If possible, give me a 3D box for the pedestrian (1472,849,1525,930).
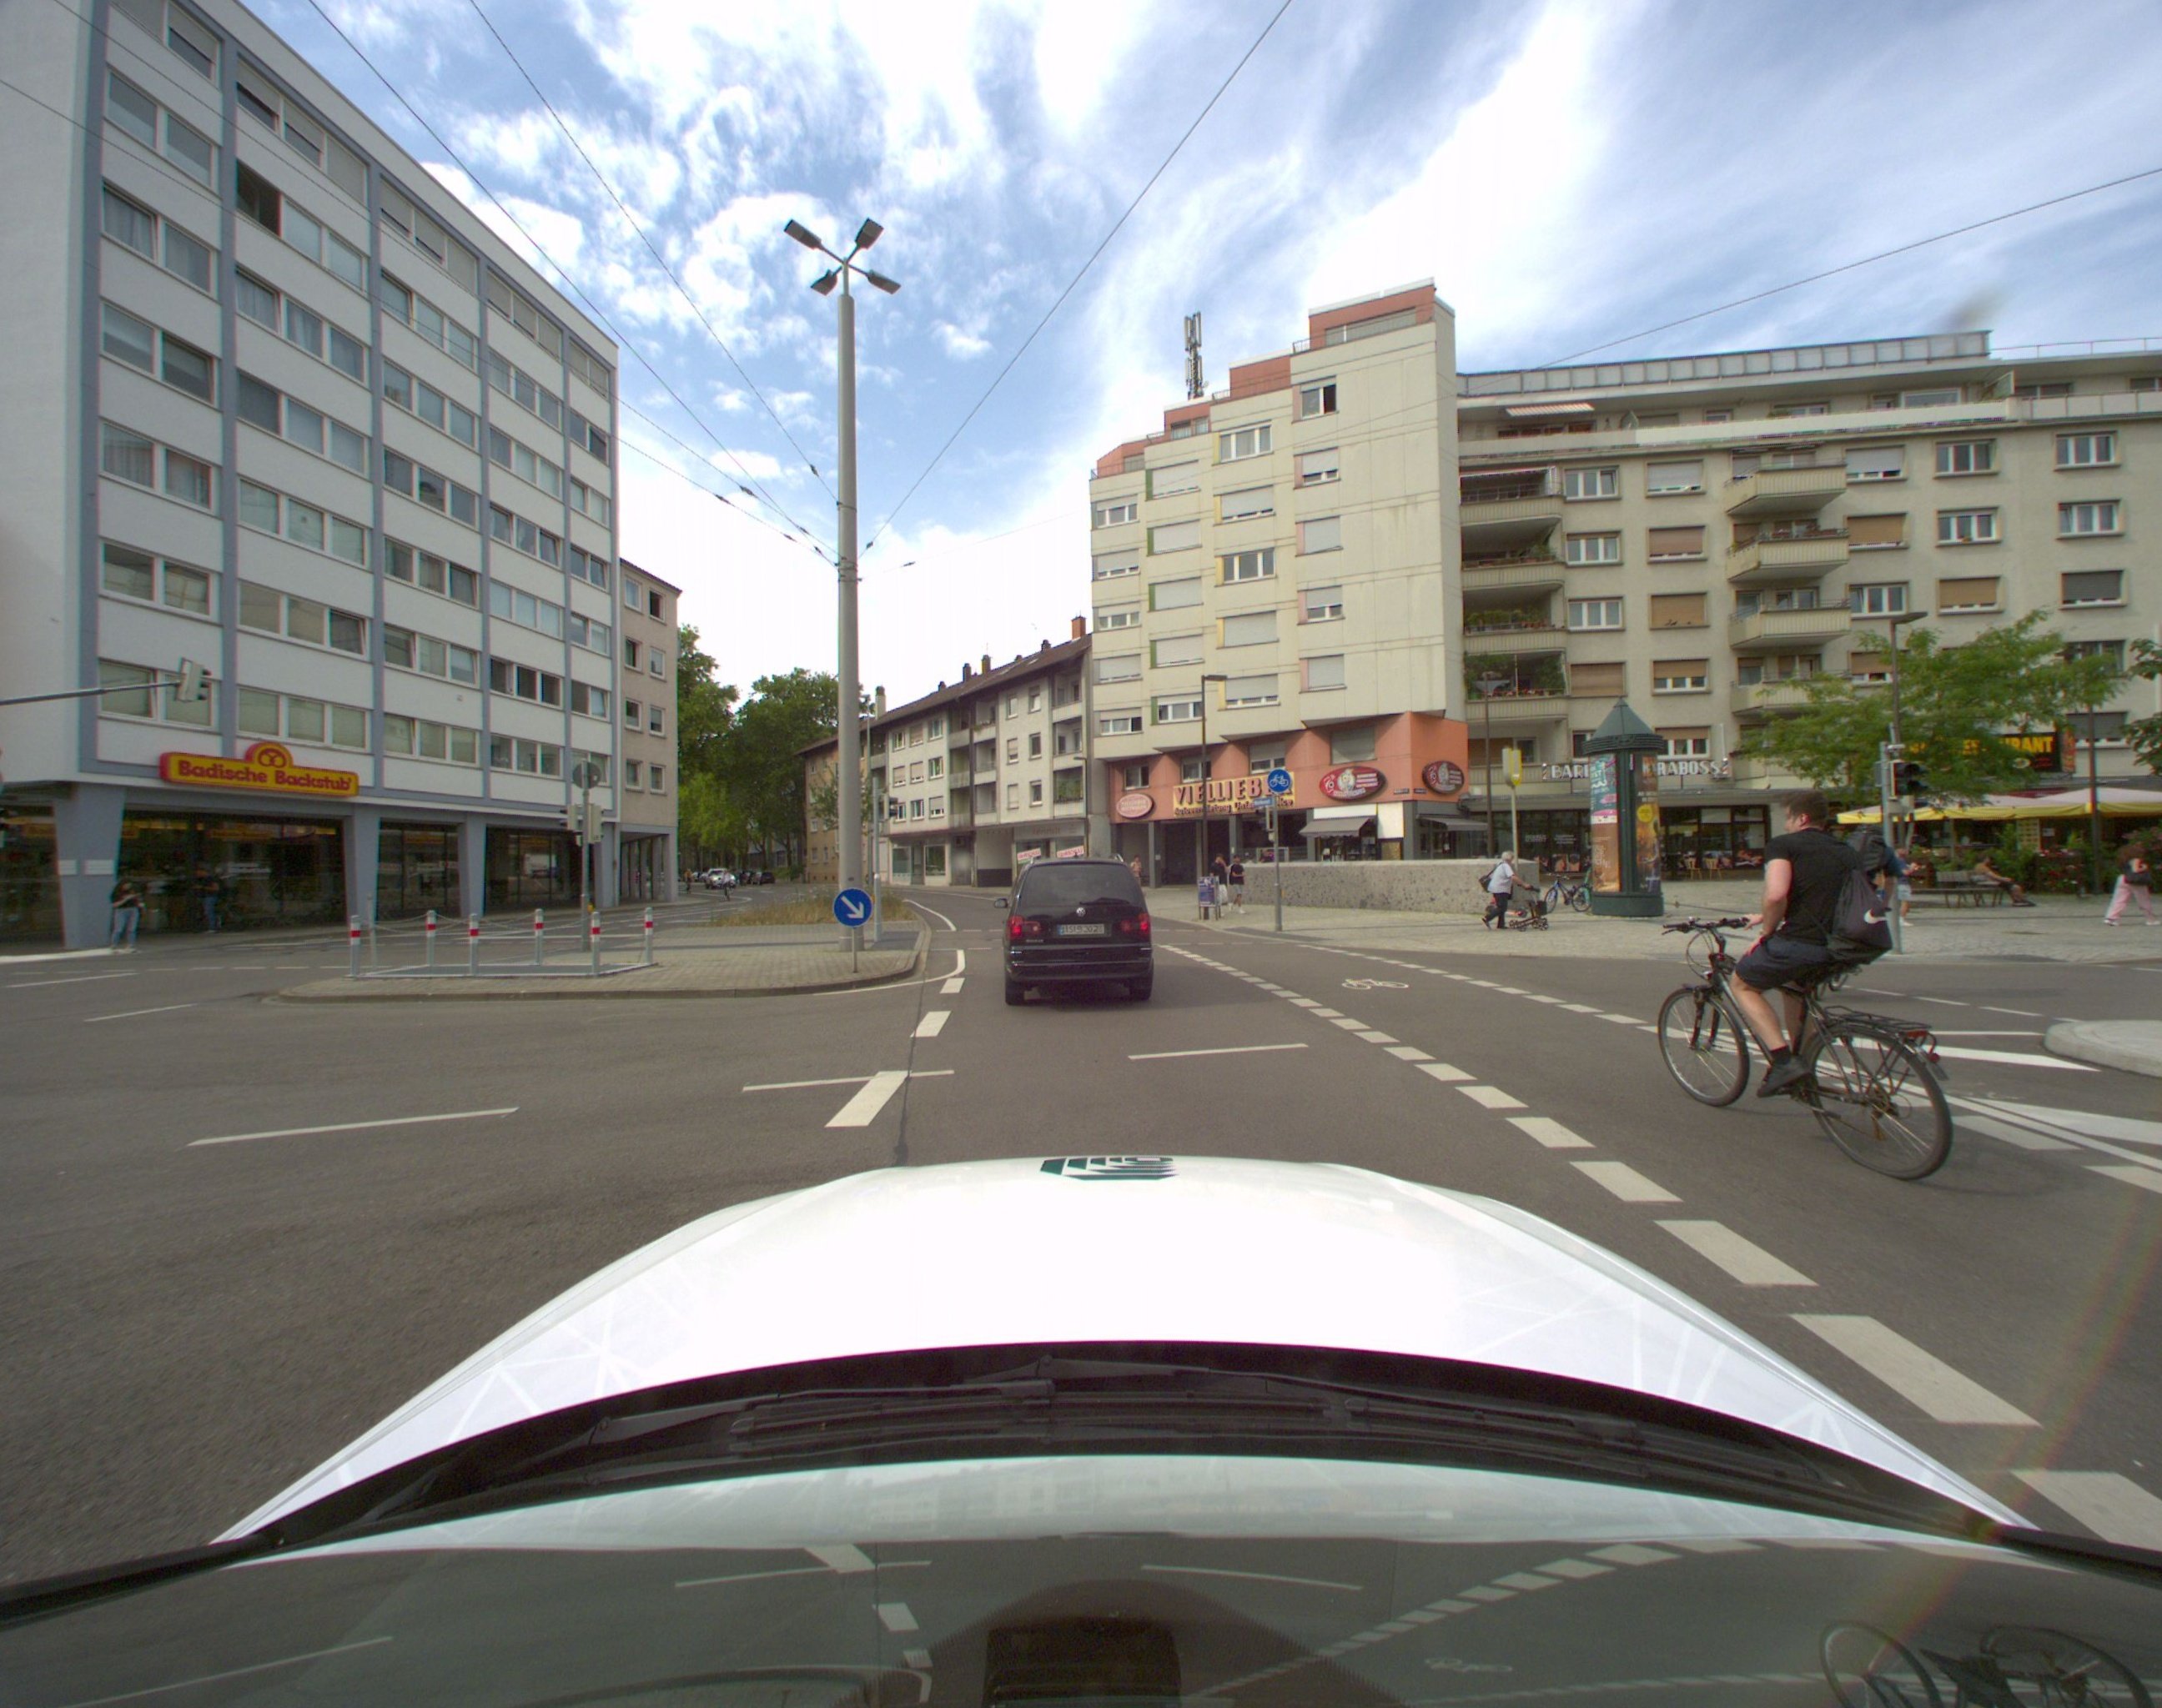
[{"bbox_3d":[9.203,0.775,17.979,0.927,1.740,0.689,-2,0,21],"label":"pedestrian"}]

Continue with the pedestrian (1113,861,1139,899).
[{"bbox_3d":[2.026,1.157,36.737,0.609,1.668,0.933,-4,1,-39],"label":"pedestrian"}]

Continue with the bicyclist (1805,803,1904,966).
[{"bbox_3d":[8.624,0.320,9.076,0.912,1.709,0.691,0,-1,-42],"label":"bicyclist"}]

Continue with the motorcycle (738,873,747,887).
[{"bbox_3d":[-33.151,2.524,79.677,0.375,1.350,1.712,0,-1,-38],"label":"motorcycle"}]

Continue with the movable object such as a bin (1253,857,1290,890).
[{"bbox_3d":[9.051,0.908,38.676,1.203,1.516,1.183,0,-1,-39],"label":"movable object such as a bin"}]

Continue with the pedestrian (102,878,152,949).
[{"bbox_3d":[-21.641,1.344,18.479,0.497,1.559,0.518,-1,-1,0],"label":"pedestrian"}]

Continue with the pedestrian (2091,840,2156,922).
[{"bbox_3d":[21.112,0.546,16.501,0.672,1.641,0.440,-1,-1,7],"label":"pedestrian"}]

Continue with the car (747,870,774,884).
[{"bbox_3d":[-35.243,2.476,89.495,1.671,1.422,3.822,0,0,-38],"label":"car"}]

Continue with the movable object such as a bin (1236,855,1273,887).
[{"bbox_3d":[8.060,0.788,37.930,1.154,1.460,1.210,0,-1,-39],"label":"movable object such as a bin"}]

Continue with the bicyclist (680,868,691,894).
[{"bbox_3d":[-27.816,1.895,57.255,0.542,1.743,0.749,0,-1,-38],"label":"bicyclist"}]

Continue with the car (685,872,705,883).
[{"bbox_3d":[-53.833,3.328,113.536,1.643,1.470,4.267,0,-2,-39],"label":"car"}]

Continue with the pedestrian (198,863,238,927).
[{"bbox_3d":[-24.181,1.147,22.814,0.473,1.765,0.590,-1,0,7],"label":"pedestrian"}]

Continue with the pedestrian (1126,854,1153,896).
[{"bbox_3d":[2.648,0.968,37.064,0.661,1.852,0.961,-4,0,-34],"label":"pedestrian"}]

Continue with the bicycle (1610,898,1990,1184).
[{"bbox_3d":[3.755,0.864,4.524,0.404,1.122,2.018,-1,0,3],"label":"bicycle"}]

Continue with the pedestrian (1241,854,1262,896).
[{"bbox_3d":[6.964,0.834,33.242,0.476,1.672,0.583,-3,1,-37],"label":"pedestrian"}]

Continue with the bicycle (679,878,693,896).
[{"bbox_3d":[-27.736,2.324,57.147,0.516,1.225,1.545,0,-1,-39],"label":"bicycle"}]

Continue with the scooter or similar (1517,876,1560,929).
[{"bbox_3d":[9.948,1.051,17.735,0.694,1.110,0.611,-2,-1,19],"label":"scooter or similar"}]

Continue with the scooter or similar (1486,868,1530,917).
[{"bbox_3d":[10.911,0.969,20.826,0.286,1.212,1.119,0,-1,-16],"label":"scooter or similar"}]

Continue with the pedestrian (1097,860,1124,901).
[{"bbox_3d":[1.306,1.179,36.320,0.756,1.750,0.851,-5,1,-30],"label":"pedestrian"}]

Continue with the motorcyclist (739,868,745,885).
[{"bbox_3d":[-33.142,2.192,79.687,0.450,1.647,0.513,0,-1,-37],"label":"motorcyclist"}]

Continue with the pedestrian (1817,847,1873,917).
[{"bbox_3d":[17.423,0.638,18.574,0.814,1.576,0.416,-1,-1,8],"label":"pedestrian"}]

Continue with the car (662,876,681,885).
[{"bbox_3d":[-64.693,4.231,128.638,1.689,1.394,4.409,0,-2,-39],"label":"car"}]

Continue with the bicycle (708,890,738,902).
[{"bbox_3d":[-19.532,2.300,44.478,0.480,0.588,2.004,-1,-1,10],"label":"bicycle"}]

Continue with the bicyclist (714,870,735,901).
[{"bbox_3d":[-19.453,1.700,44.452,0.604,1.646,1.040,-1,-1,10],"label":"bicyclist"}]

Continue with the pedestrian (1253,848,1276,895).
[{"bbox_3d":[7.608,0.711,33.757,0.677,1.903,0.583,-3,1,-37],"label":"pedestrian"}]

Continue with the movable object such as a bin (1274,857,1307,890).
[{"bbox_3d":[10.128,0.933,39.312,1.010,1.516,1.154,0,-1,-39],"label":"movable object such as a bin"}]

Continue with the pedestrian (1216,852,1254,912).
[{"bbox_3d":[4.792,0.857,25.321,0.680,1.799,0.875,-3,1,-43],"label":"pedestrian"}]

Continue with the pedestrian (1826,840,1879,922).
[{"bbox_3d":[16.677,0.580,17.616,0.695,1.737,0.415,-1,-1,7],"label":"pedestrian"}]

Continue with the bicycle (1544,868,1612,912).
[{"bbox_3d":[13.199,0.943,21.615,2.459,1.013,0.539,-2,0,-34],"label":"bicycle"}]

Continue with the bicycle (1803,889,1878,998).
[{"bbox_3d":[8.651,0.963,9.254,1.930,1.122,0.387,2,-3,-41],"label":"bicycle"}]

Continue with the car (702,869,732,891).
[{"bbox_3d":[-29.802,2.075,66.659,1.843,1.660,4.284,-1,0,-29],"label":"car"}]

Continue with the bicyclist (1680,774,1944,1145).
[{"bbox_3d":[3.695,0.489,4.197,0.556,1.709,0.863,-1,-1,1],"label":"bicyclist"}]

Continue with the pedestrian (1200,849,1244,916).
[{"bbox_3d":[4.268,0.854,24.693,0.725,1.971,1.001,-3,1,-43],"label":"pedestrian"}]

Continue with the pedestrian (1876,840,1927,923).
[{"bbox_3d":[17.304,0.579,17.183,0.590,1.737,0.415,-1,-1,7],"label":"pedestrian"}]

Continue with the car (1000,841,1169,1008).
[{"bbox_3d":[-0.134,0.787,10.725,1.810,1.766,3.729,-1,-1,-6],"label":"car"}]

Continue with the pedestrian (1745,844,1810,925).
[{"bbox_3d":[14.782,0.646,17.298,0.799,1.680,0.628,-1,-1,8],"label":"pedestrian"}]

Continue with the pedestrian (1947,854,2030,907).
[{"bbox_3d":[22.472,0.645,20.194,1.025,1.245,0.937,1,-1,10],"label":"pedestrian"}]

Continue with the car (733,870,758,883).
[{"bbox_3d":[-38.367,2.535,93.045,1.671,1.422,3.902,0,0,-38],"label":"car"}]

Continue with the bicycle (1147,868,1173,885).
[{"bbox_3d":[4.428,1.263,45.866,0.456,0.896,1.659,-1,0,-38],"label":"bicycle"}]
